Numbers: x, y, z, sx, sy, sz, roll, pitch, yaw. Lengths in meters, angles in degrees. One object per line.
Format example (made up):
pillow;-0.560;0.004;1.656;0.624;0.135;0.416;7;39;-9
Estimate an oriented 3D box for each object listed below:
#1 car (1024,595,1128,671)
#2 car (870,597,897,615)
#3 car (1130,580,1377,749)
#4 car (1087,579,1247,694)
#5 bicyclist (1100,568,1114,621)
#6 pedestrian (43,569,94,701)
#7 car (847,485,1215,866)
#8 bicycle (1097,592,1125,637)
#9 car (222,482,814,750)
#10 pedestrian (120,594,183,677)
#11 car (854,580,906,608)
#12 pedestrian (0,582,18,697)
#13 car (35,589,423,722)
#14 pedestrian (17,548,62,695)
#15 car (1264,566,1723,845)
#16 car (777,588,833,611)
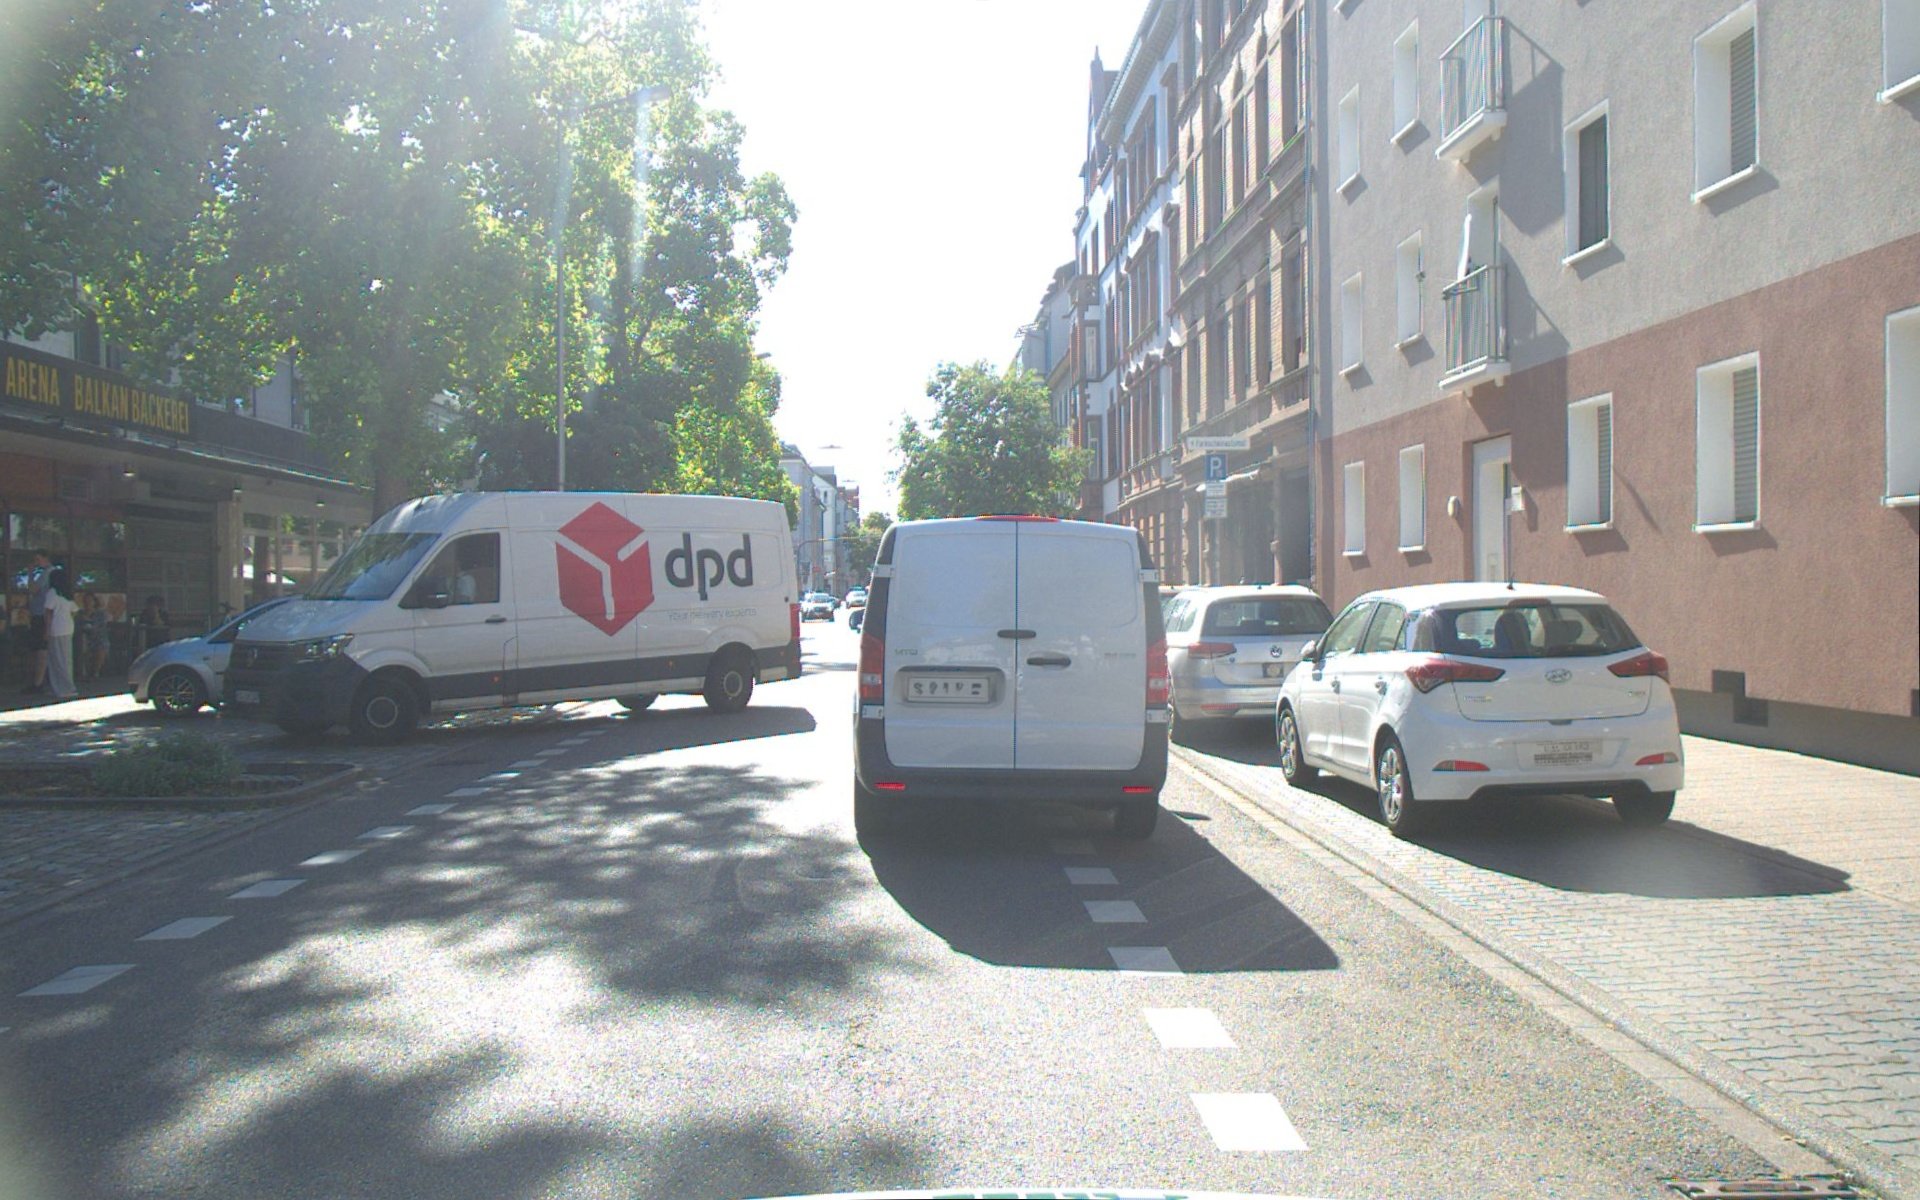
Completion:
car;2.395;0.647;34.956;1.704;1.477;3.998;-1;0;-3
car;-4.593;0.336;98.751;1.578;0.984;3.998;-1;0;-3
car;2.914;0.573;17.358;1.749;1.485;4.516;-2;0;0
car;2.882;0.477;23.726;1.675;1.506;3.709;-1;0;-2
bicyclist;4.143;-0.151;46.621;0.353;1.503;0.531;0;0;1
pedestrian;-11.874;0.458;22.035;0.382;1.735;0.502;1;0;-1
car;0.274;0.372;10.963;1.882;1.947;4.886;1;0;-2
bicycle;4.234;0.403;46.433;0.525;1.168;2.124;-8;-1;3
car;-4.650;0.107;18.686;1.962;2.517;6.571;0;1;39
pedestrian;-13.367;0.578;27.349;0.709;1.354;0.702;1;0;-5
car;-6.069;-0.427;126.105;3.906;2.049;1.999;-1;0;-2
pedestrian;-12.674;0.517;21.628;0.459;1.499;0.420;-1;0;-5
car;-8.849;0.649;20.293;3.908;1.482;1.859;1;0;-3
pedestrian;-12.426;0.284;22.338;0.382;1.968;0.361;1;0;-1
car;3.399;0.587;11.334;1.697;1.512;3.792;-2;0;-3
car;-11.502;-0.036;122.898;3.918;1.668;1.994;0;0;-13
